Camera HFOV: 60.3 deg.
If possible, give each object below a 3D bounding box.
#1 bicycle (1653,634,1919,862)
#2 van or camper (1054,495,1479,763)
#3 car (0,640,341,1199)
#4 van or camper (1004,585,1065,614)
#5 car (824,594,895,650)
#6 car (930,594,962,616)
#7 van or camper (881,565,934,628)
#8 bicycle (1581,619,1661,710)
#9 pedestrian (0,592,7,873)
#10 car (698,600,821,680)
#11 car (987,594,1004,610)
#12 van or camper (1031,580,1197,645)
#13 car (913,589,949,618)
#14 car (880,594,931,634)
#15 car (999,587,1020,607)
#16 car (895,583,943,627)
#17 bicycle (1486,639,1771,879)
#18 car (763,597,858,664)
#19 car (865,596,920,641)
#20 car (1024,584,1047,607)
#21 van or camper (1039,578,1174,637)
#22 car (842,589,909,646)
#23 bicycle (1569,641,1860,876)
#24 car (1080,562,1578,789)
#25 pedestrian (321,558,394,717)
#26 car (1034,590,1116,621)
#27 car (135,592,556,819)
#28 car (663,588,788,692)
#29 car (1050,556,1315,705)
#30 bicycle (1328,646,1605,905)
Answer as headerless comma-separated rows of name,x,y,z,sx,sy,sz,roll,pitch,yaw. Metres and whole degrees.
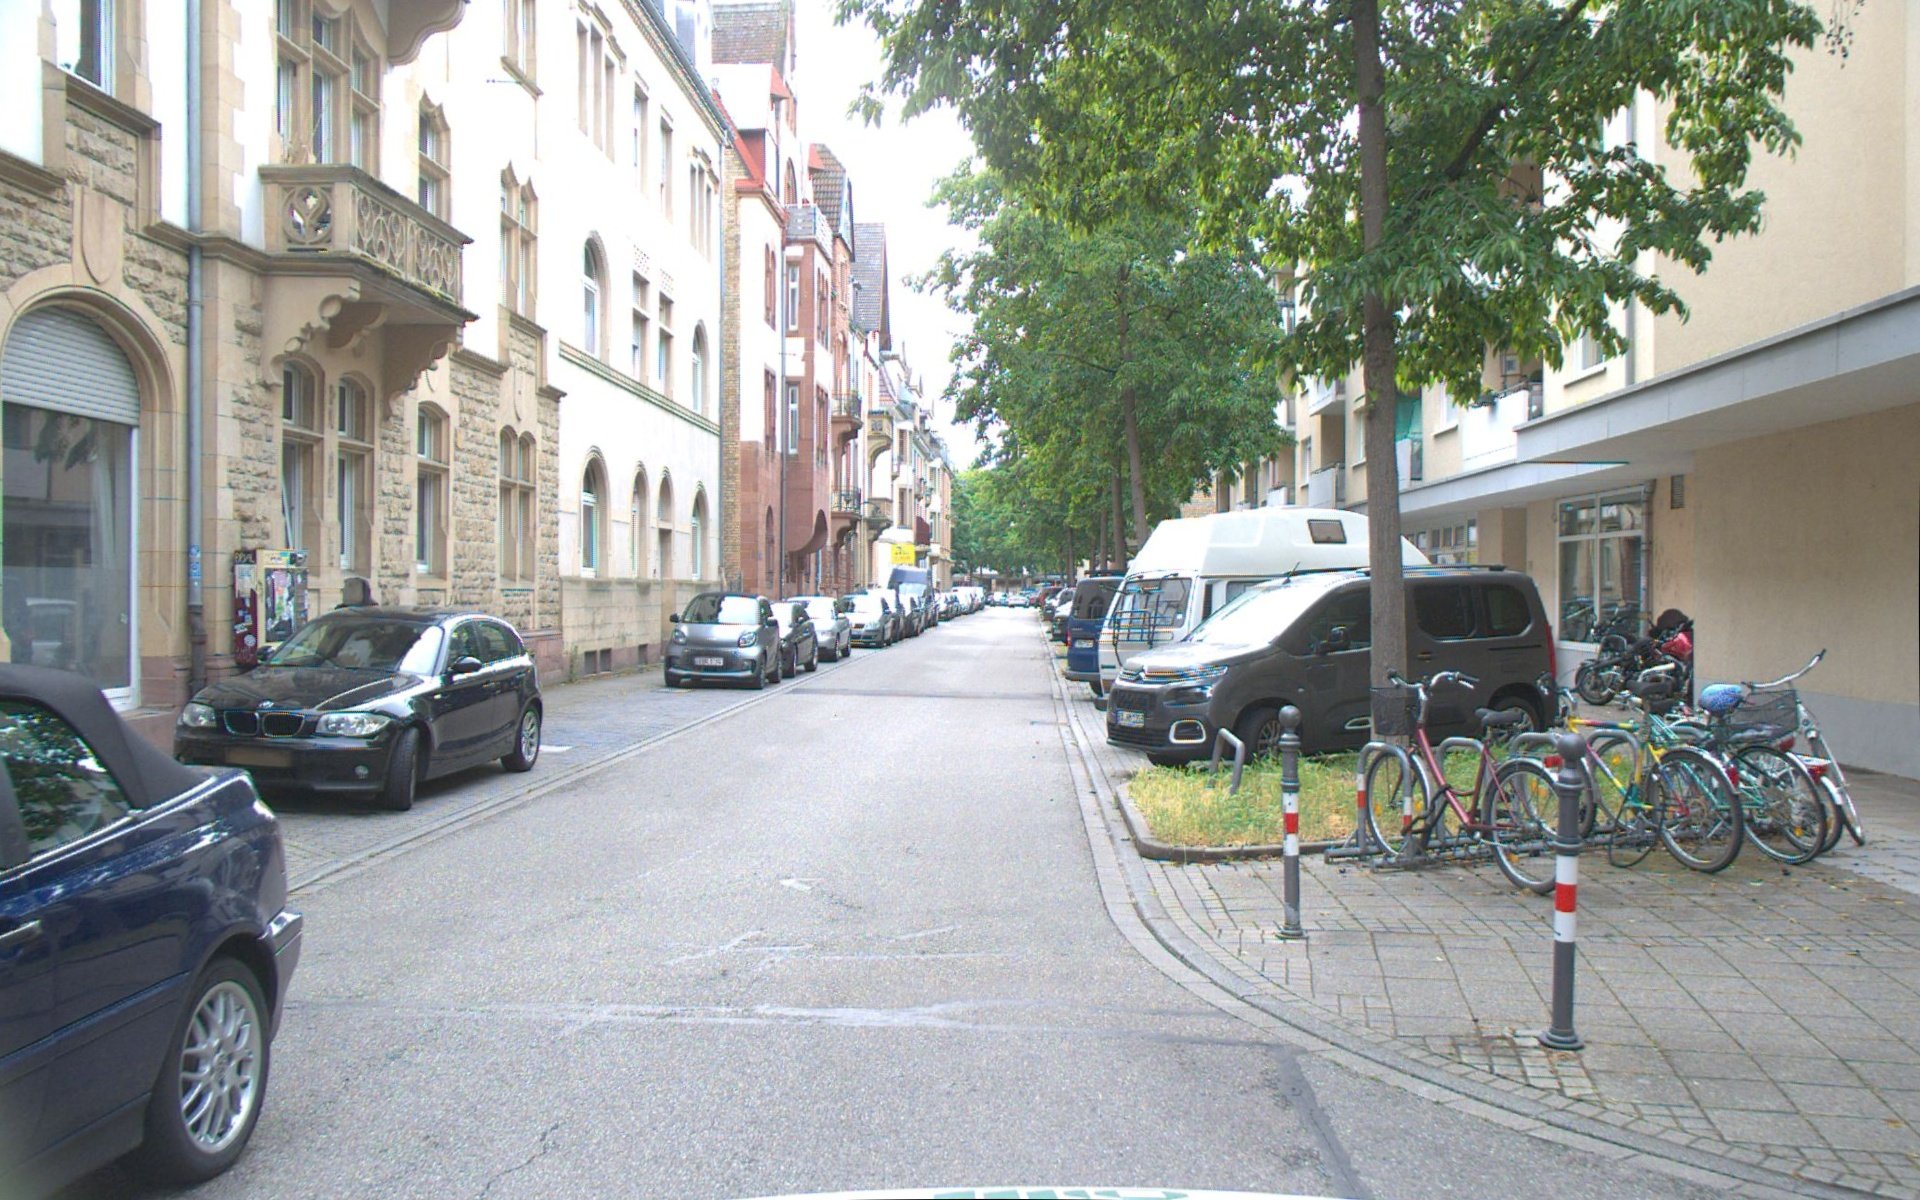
bicycle,5.007,0.833,9.983,0.540,1.194,1.688,0,1,-19
van or camper,3.438,0.274,18.323,4.534,2.641,1.892,0,0,-31
car,-2.824,0.829,3.182,1.672,1.438,3.853,-1,-1,3
van or camper,5.445,-0.063,120.640,4.095,2.122,1.937,0,0,-26
car,-2.853,0.602,47.735,1.628,1.445,3.930,1,1,2
car,-0.951,0.311,113.197,1.952,1.501,4.001,0,0,2
van or camper,-2.278,-0.201,73.173,1.966,2.698,5.318,0,1,2
bicycle,8.566,0.811,21.490,0.474,1.109,1.701,0,0,4
pedestrian,-5.977,0.763,9.554,0.621,1.621,0.665,1,1,43
car,-3.801,0.744,31.952,1.690,1.411,3.930,1,-1,3
car,3.810,0.219,177.188,1.783,1.673,3.754,1,-1,2
van or camper,4.989,0.373,53.498,4.943,1.902,2.110,-2,0,-26
car,-1.569,0.178,90.423,1.752,1.506,4.023,1,0,2
car,-2.110,0.562,65.032,1.633,1.499,4.001,1,-1,2
car,4.778,-0.295,159.600,1.952,1.825,4.000,1,-1,1
car,-1.931,0.226,78.854,1.952,2.049,4.893,0,0,2
bicycle,3.794,0.851,9.536,0.540,1.194,1.719,0,1,-19
car,-3.486,0.680,39.146,1.690,1.410,4.138,1,1,2
car,-2.383,0.624,59.125,1.600,1.498,4.001,1,1,2
car,7.163,-0.415,157.070,1.952,2.048,4.001,3,0,2
van or camper,5.514,0.294,62.190,4.666,2.029,1.986,-2,-2,-23
car,-2.698,0.527,53.541,1.749,1.675,4.363,1,1,2
bicycle,4.389,0.869,9.761,0.540,1.194,1.719,0,1,-19
car,3.439,0.614,15.446,4.273,1.886,1.898,0,0,-23
pedestrian,-5.946,0.362,16.344,0.504,1.545,0.547,0,0,2
car,6.026,0.296,86.581,3.966,1.586,1.867,0,0,-29
car,-4.743,0.751,13.435,1.673,1.521,4.002,1,-1,4
car,-3.964,0.634,28.299,1.612,1.598,2.958,1,1,1
car,3.698,0.444,27.076,4.363,2.235,2.035,0,0,-43
bicycle,2.694,0.883,8.993,0.540,1.194,1.719,0,1,-19
